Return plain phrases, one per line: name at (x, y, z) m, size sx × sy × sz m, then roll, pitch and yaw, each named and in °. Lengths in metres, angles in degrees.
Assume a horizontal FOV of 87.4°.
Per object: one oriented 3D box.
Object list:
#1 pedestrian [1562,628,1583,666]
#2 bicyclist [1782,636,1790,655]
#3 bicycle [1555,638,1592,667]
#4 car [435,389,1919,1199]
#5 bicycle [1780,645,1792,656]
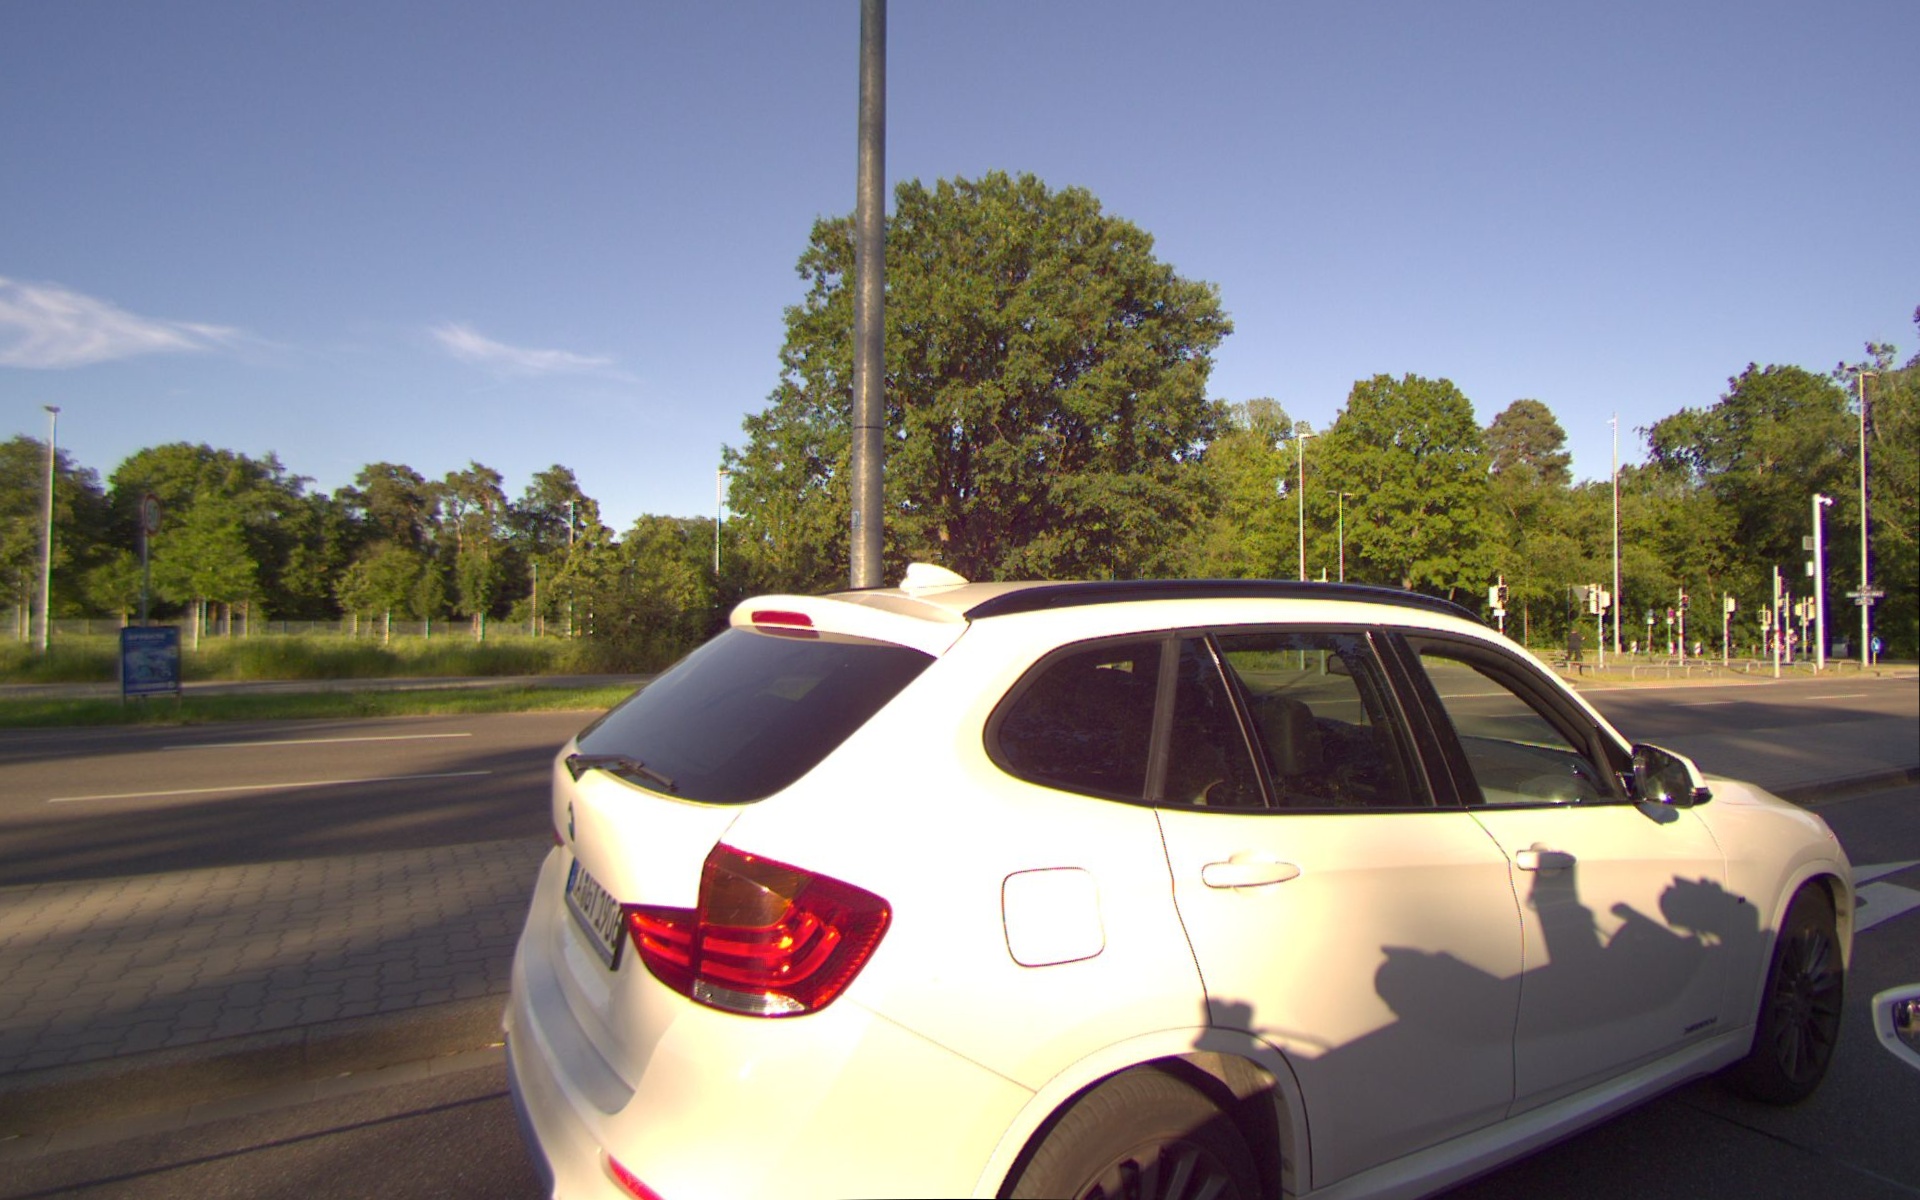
pedestrian at (26.098, 2.008, 42.782) m, size 0.641 × 1.583 × 0.479 m, roll 2°, pitch 0°, yaw -30°
bicyclist at (44.263, 2.429, 53.808) m, size 0.238 × 0.975 × 0.271 m, roll 2°, pitch 0°, yaw -37°
bicycle at (26.157, 2.250, 42.809) m, size 1.980 × 1.193 × 0.466 m, roll 2°, pitch 0°, yaw -31°
car at (0.944, 0.622, 2.996) m, size 4.381 × 1.602 × 1.711 m, roll 2°, pitch 0°, yaw -30°
bicycle at (44.231, 2.707, 53.791) m, size 0.831 × 0.589 × 0.264 m, roll 2°, pitch 0°, yaw -36°
